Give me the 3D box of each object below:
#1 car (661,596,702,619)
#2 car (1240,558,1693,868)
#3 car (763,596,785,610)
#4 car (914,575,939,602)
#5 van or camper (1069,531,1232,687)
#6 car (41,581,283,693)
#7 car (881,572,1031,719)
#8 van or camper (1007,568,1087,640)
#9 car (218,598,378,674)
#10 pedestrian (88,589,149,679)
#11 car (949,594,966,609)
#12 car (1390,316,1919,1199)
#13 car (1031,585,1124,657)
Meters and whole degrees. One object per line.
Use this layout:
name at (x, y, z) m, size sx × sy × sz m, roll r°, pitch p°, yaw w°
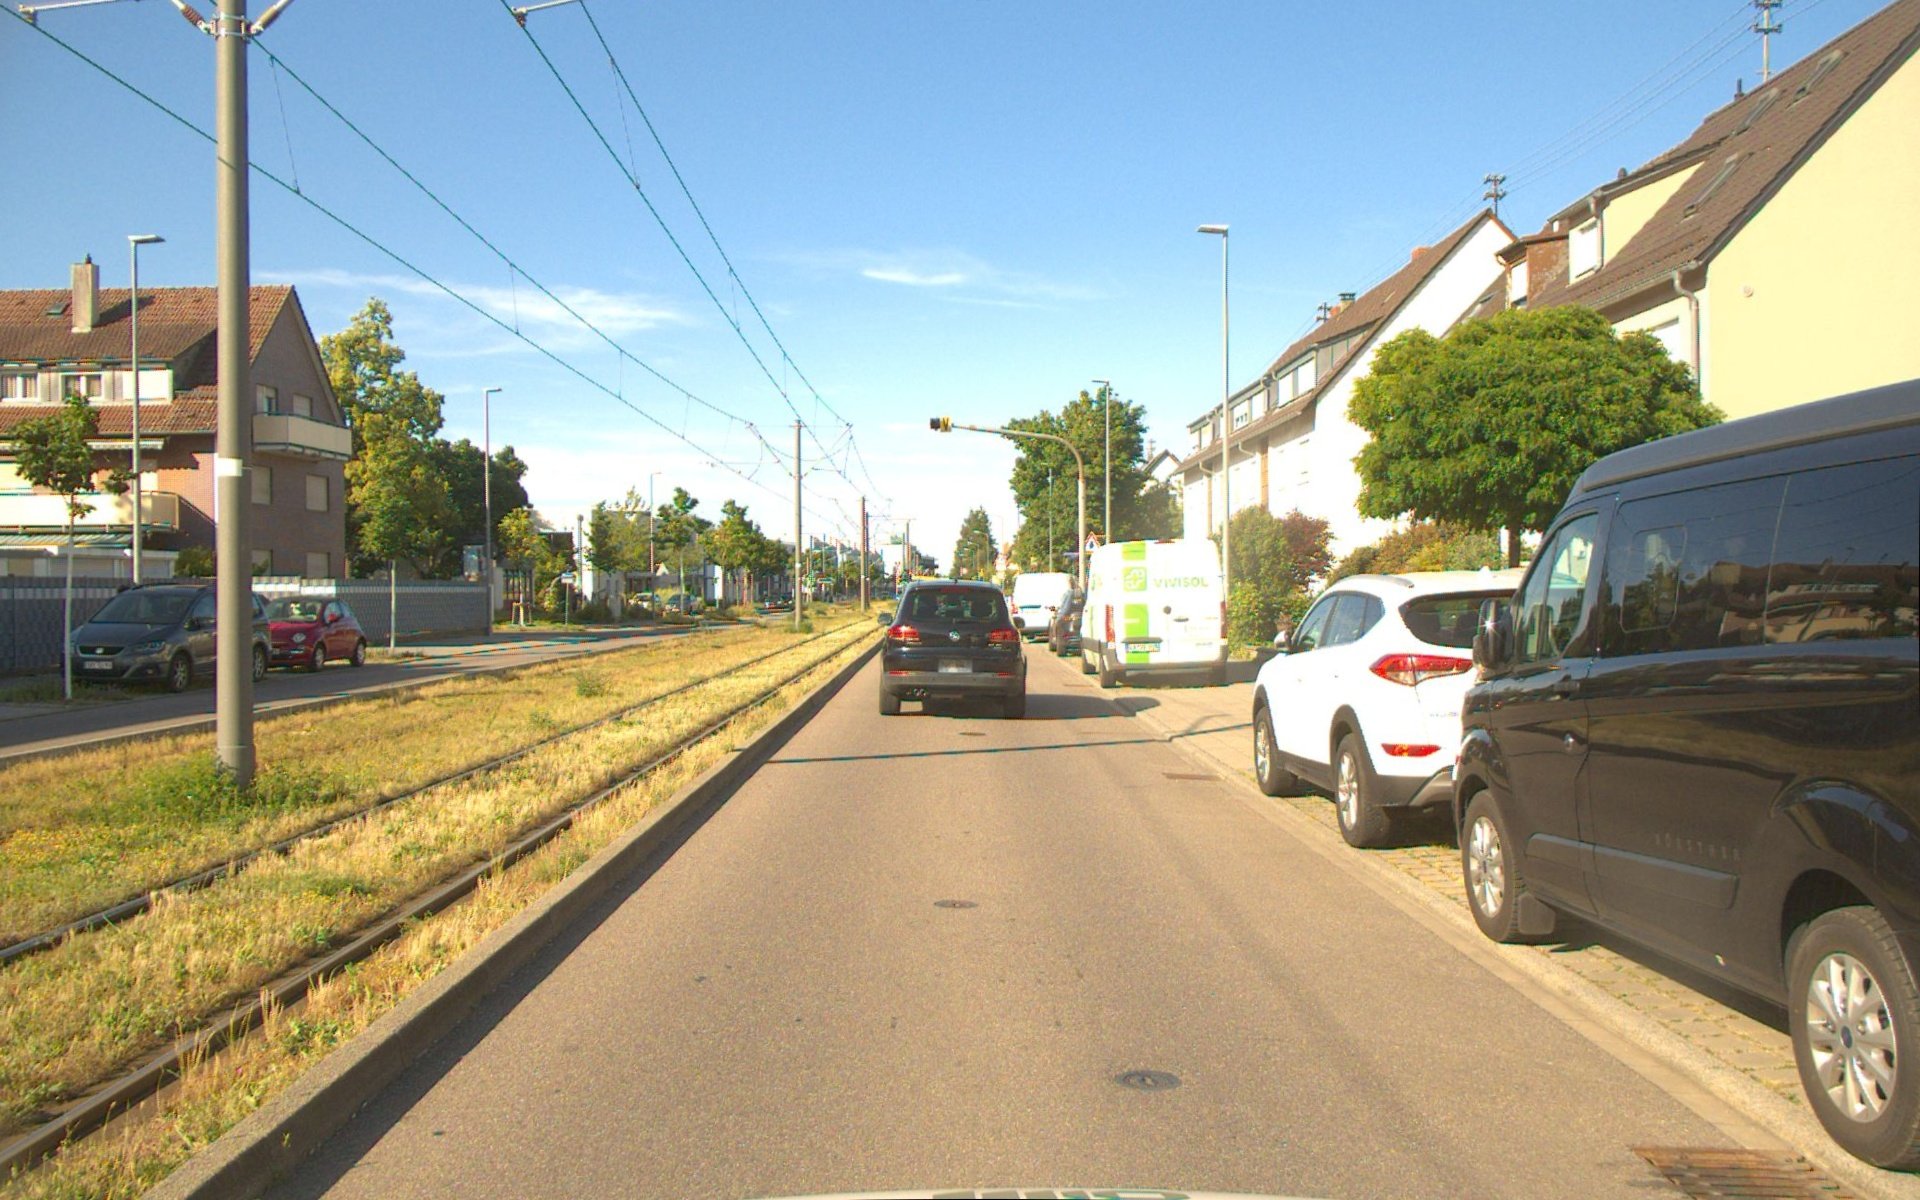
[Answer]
car at (-19.175, 0.501, 114.045) m, size 1.772 × 1.486 × 4.319 m, roll 1°, pitch 0°, yaw 4°
car at (3.183, 0.619, 11.352) m, size 1.690 × 1.674 × 4.318 m, roll -2°, pitch 0°, yaw -1°
car at (-19.115, 0.311, 170.332) m, size 1.653 × 1.413 × 4.388 m, roll -2°, pitch 0°, yaw 1°
car at (-3.382, -1.130, 166.008) m, size 2.345 × 2.609 × 5.529 m, roll 0°, pitch 0°, yaw 0°
van or camper at (3.125, 0.132, 28.481) m, size 1.953 × 2.310 × 6.304 m, roll -2°, pitch 0°, yaw -1°
car at (-13.512, 0.573, 28.373) m, size 1.782 × 1.714 × 4.845 m, roll 1°, pitch 0°, yaw 0°
car at (-0.131, 0.537, 21.466) m, size 1.740 × 1.699 × 3.998 m, roll 1°, pitch 0°, yaw -3°
van or camper at (2.655, 0.090, 49.319) m, size 1.985 × 1.990 × 5.299 m, roll -1°, pitch 1°, yaw 7°
car at (-13.650, 0.695, 34.357) m, size 1.660 × 1.429 × 4.078 m, roll -1°, pitch 0°, yaw 0°
pedestrian at (-15.834, 0.631, 31.132) m, size 0.682 × 1.669 × 0.919 m, roll 1°, pitch 0°, yaw -3°
car at (-0.309, 0.180, 192.346) m, size 1.740 × 1.699 × 3.998 m, roll 0°, pitch 0°, yaw -3°
car at (3.278, 0.370, 6.009) m, size 1.920 × 2.181 × 5.334 m, roll -2°, pitch 0°, yaw -1°
car at (2.690, 0.463, 38.811) m, size 1.713 × 1.520 × 5.154 m, roll -2°, pitch 0°, yaw -1°
